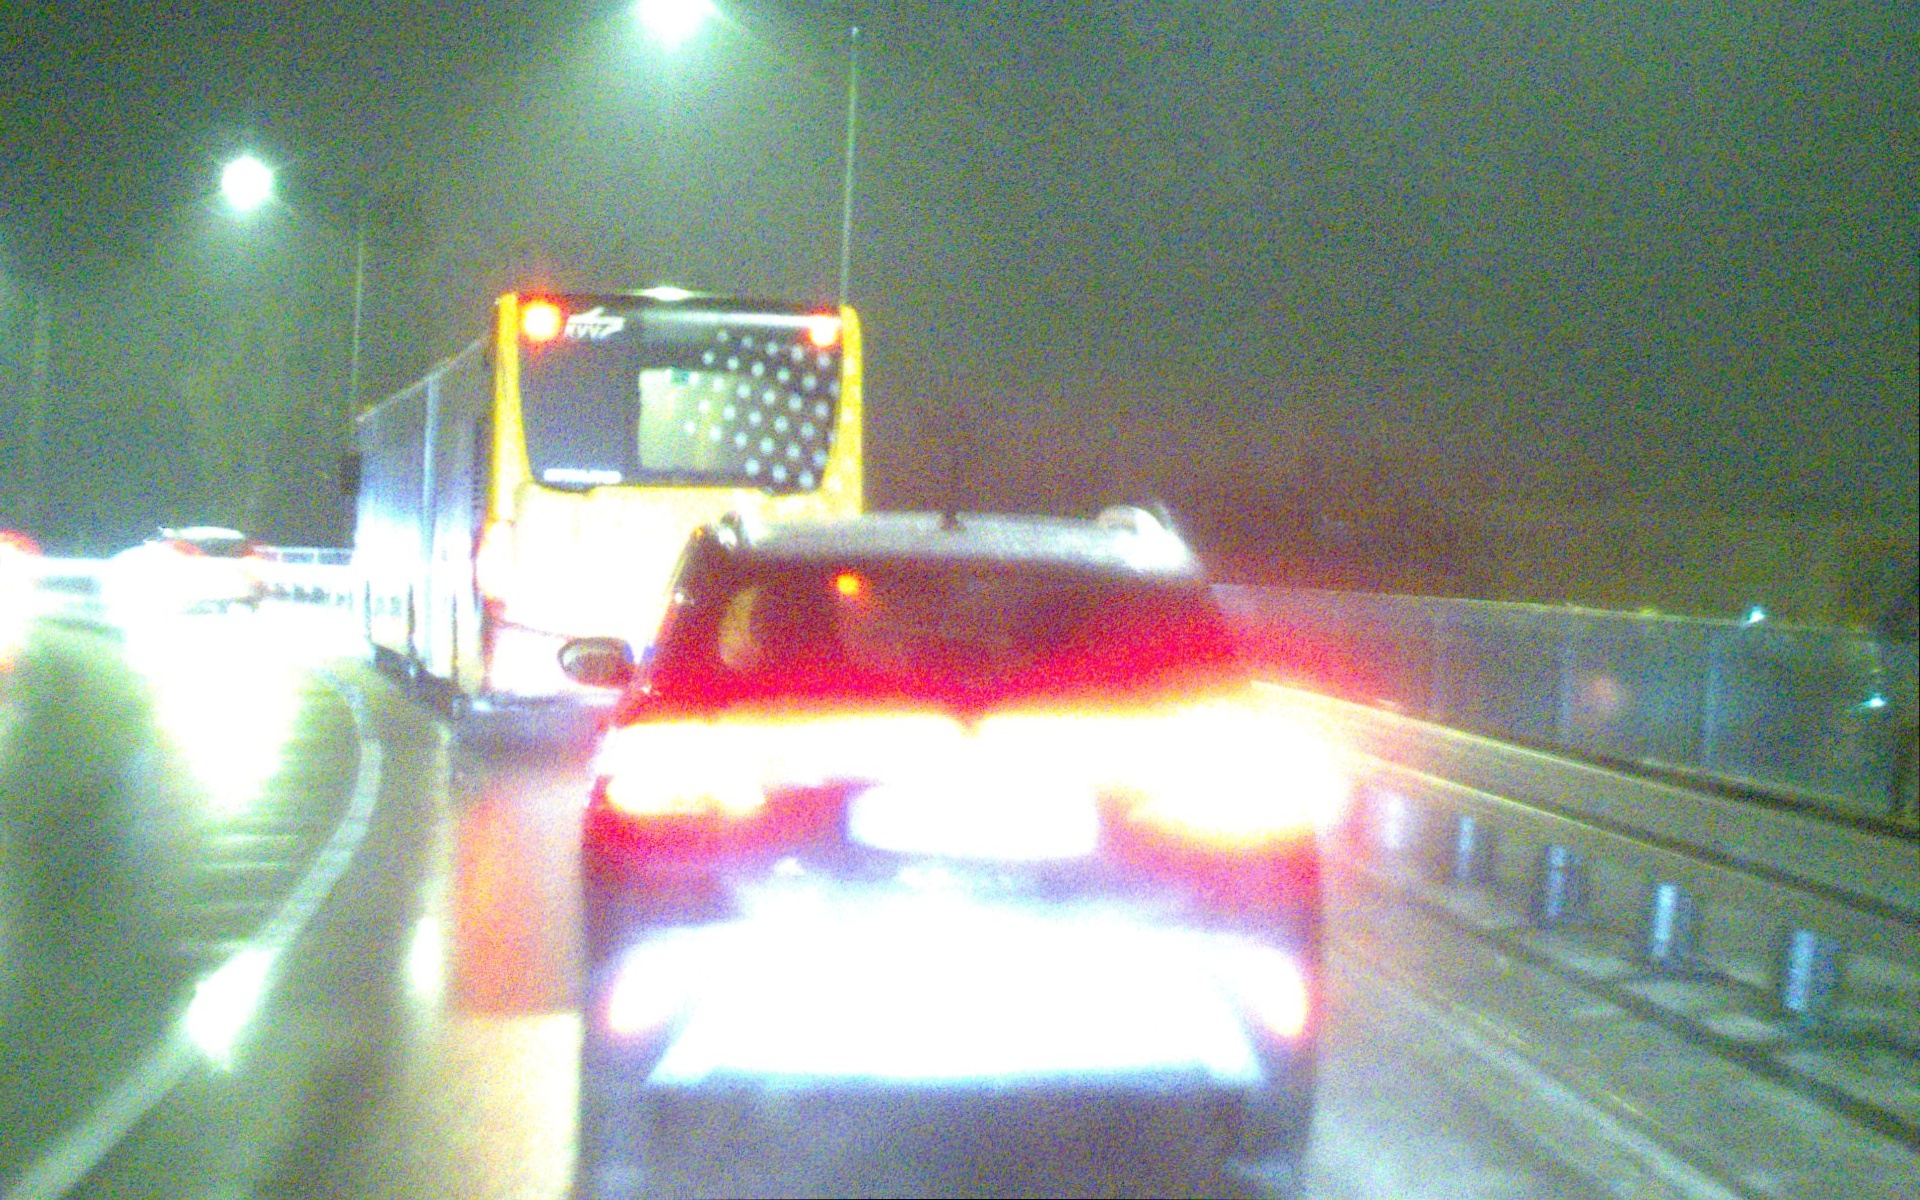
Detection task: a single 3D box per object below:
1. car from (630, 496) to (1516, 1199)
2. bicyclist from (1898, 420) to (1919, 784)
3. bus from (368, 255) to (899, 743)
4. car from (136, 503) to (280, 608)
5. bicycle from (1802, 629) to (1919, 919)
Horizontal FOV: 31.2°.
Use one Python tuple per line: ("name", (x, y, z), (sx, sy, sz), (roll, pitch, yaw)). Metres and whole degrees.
("car", (0.188, 0.559, 9.263), (1.855, 1.581, 4.000), (1, 1, -1))
("bicyclist", (3.791, 0.016, 12.504), (0.452, 1.345, 0.764), (1, 1, -5))
("bus", (-3.166, -0.799, 28.529), (3.082, 3.122, 12.701), (0, 1, -11))
("car", (-12.990, -0.730, 59.266), (1.636, 1.650, 3.710), (1, -2, -25))
("bicycle", (3.736, 0.651, 12.782), (0.484, 1.031, 2.172), (1, 1, -5))
